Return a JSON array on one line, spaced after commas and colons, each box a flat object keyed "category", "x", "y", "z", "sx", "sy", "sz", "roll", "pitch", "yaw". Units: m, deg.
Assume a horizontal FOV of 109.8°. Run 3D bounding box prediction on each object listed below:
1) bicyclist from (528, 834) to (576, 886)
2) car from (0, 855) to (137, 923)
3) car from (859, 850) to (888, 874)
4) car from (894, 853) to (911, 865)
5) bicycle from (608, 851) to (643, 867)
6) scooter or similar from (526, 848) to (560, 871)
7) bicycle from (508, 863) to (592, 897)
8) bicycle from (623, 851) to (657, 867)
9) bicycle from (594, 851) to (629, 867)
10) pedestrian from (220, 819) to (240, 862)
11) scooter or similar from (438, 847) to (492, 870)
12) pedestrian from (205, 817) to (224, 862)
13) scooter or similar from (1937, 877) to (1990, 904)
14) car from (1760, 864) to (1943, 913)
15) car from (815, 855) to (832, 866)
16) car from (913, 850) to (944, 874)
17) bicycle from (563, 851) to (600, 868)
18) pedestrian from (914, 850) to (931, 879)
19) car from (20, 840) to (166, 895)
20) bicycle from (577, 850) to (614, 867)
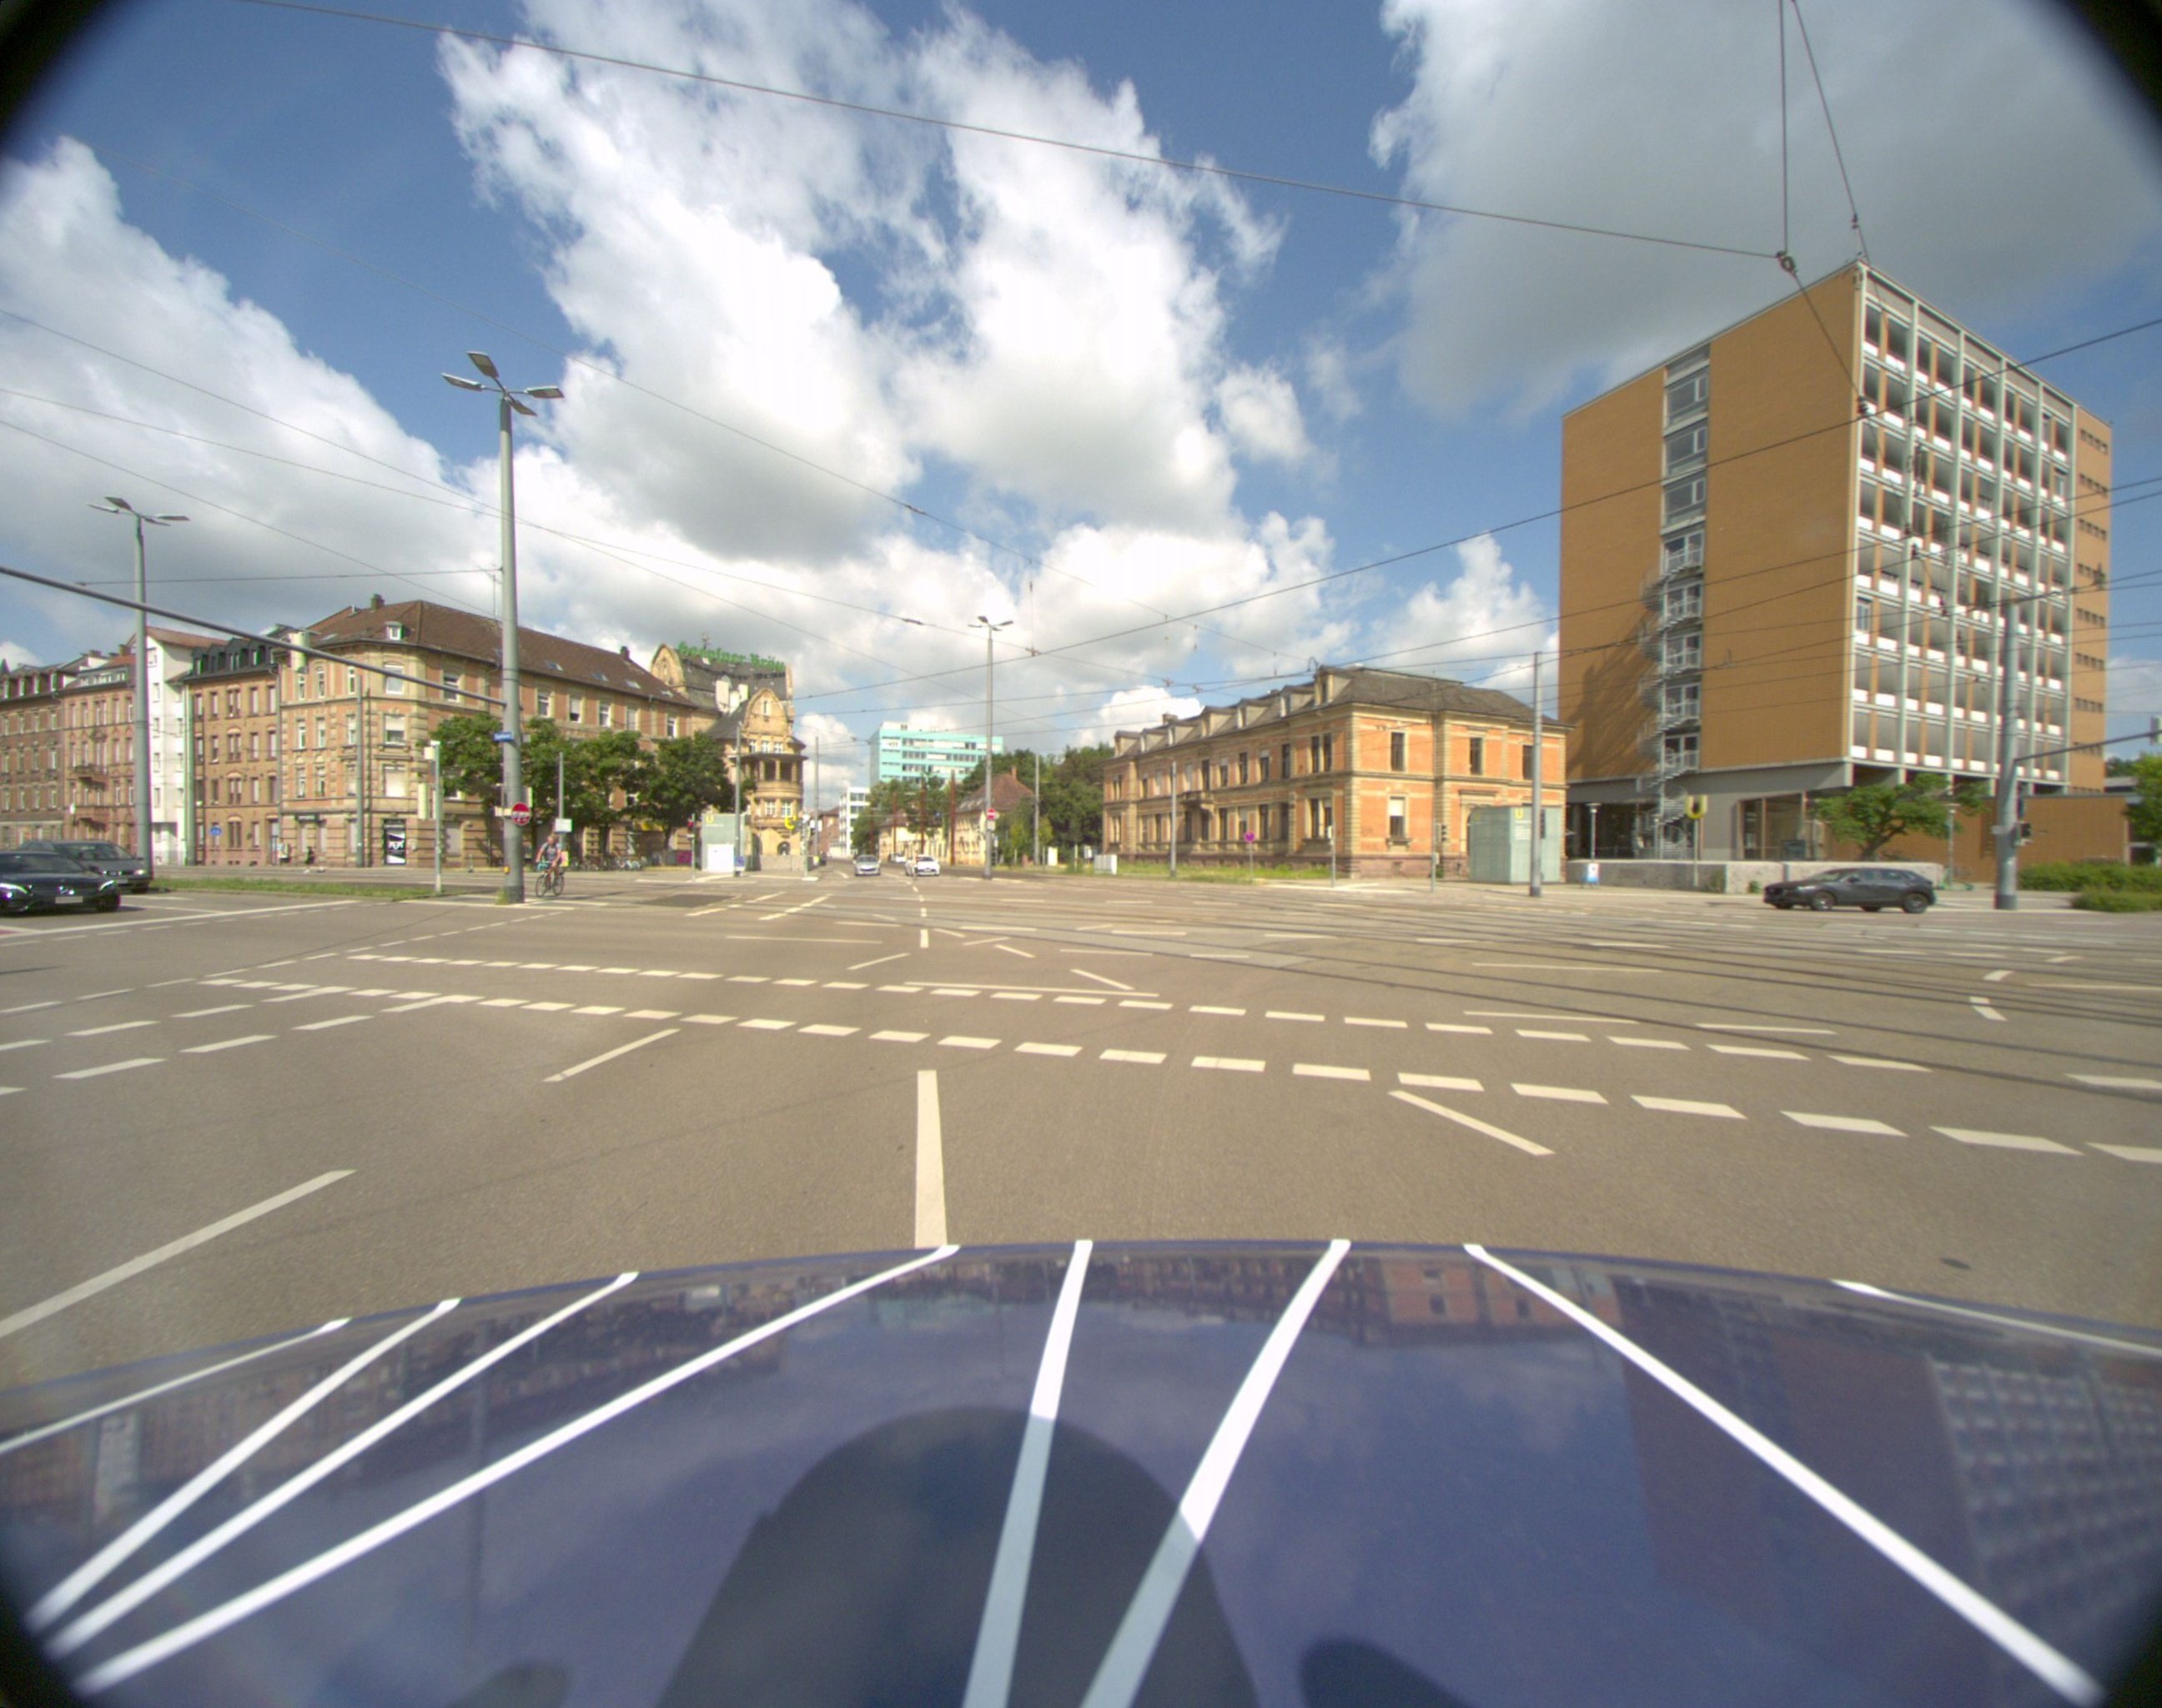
[{"category": "bicyclist", "x": -17.116, "y": 0.204, "z": 24.606, "sx": 0.614, "sy": 1.664, "sz": 1.149, "roll": 0, "pitch": -1, "yaw": 10}, {"category": "car", "x": -23.920, "y": 0.729, "z": 17.447, "sx": 3.930, "sy": 1.368, "sz": 1.874, "roll": 1, "pitch": 0, "yaw": 24}, {"category": "car", "x": -14.638, "y": 0.588, "z": 53.778, "sx": 1.839, "sy": 1.586, "sz": 3.996, "roll": 0, "pitch": -1, "yaw": -13}, {"category": "car", "x": -31.211, "y": 0.966, "z": 133.059, "sx": 2.003, "sy": 2.001, "sz": 3.992, "roll": 0, "pitch": -1, "yaw": -27}, {"category": "bicycle", "x": -33.555, "y": 0.347, "z": 55.993, "sx": 2.678, "sy": 1.159, "sz": 0.762, "roll": 1, "pitch": 1, "yaw": 22}, {"category": "scooter or similar", "x": -36.125, "y": 0.339, "z": 51.004, "sx": 2.009, "sy": 1.474, "sz": 0.882, "roll": 2, "pitch": 1, "yaw": 21}, {"category": "bicycle", "x": -17.156, "y": 0.839, "z": 24.627, "sx": 0.876, "sy": 1.064, "sz": 2.200, "roll": 0, "pitch": -1, "yaw": 13}, {"category": "bicycle", "x": -33.100, "y": 0.332, "z": 57.077, "sx": 2.678, "sy": 1.159, "sz": 0.762, "roll": 1, "pitch": 1, "yaw": 23}, {"category": "bicycle", "x": -34.009, "y": 0.340, "z": 55.006, "sx": 2.678, "sy": 1.159, "sz": 0.762, "roll": 1, "pitch": 1, "yaw": 23}, {"category": "pedestrian", "x": -60.754, "y": -0.961, "z": 54.239, "sx": 0.885, "sy": 3.057, "sz": 0.728, "roll": -1, "pitch": -1, "yaw": 30}, {"category": "scooter or similar", "x": -38.432, "y": 0.303, "z": 47.432, "sx": 2.799, "sy": 1.377, "sz": 1.182, "roll": 0, "pitch": -1, "yaw": 14}, {"category": "pedestrian", "x": -61.139, "y": -0.990, "z": 53.613, "sx": 0.885, "sy": 3.101, "sz": 0.669, "roll": -1, "pitch": -1, "yaw": 30}, {"category": "scooter or similar", "x": 41.860, "y": 1.728, "z": 36.063, "sx": 1.532, "sy": 1.177, "sz": 0.435, "roll": 3, "pitch": 2, "yaw": 42}, {"category": "car", "x": 25.998, "y": 1.154, "z": 25.762, "sx": 4.206, "sy": 1.566, "sz": 1.648, "roll": 0, "pitch": -1, "yaw": 7}, {"category": "car", "x": -36.236, "y": 0.927, "z": 106.816, "sx": 1.873, "sy": 1.375, "sz": 3.992, "roll": 0, "pitch": -2, "yaw": -25}, {"category": "car", "x": -10.303, "y": 0.569, "z": 51.267, "sx": 1.958, "sy": 1.586, "sz": 4.502, "roll": 0, "pitch": -1, "yaw": -13}, {"category": "bicycle", "x": -34.877, "y": 0.356, "z": 53.029, "sx": 2.678, "sy": 1.159, "sz": 0.762, "roll": 1, "pitch": 1, "yaw": 22}, {"category": "pedestrian", "x": -8.636, "y": 0.563, "z": 41.297, "sx": 0.543, "sy": 1.507, "sz": 0.744, "roll": 1, "pitch": 1, "yaw": 29}, {"category": "car", "x": -30.302, "y": 0.365, "z": 23.311, "sx": 3.727, "sy": 1.565, "sz": 2.004, "roll": 1, "pitch": 1, "yaw": 26}, {"category": "bicycle", "x": -34.535, "y": 0.324, "z": 53.999, "sx": 2.678, "sy": 1.158, "sz": 0.763, "roll": 1, "pitch": -3, "yaw": 22}]
